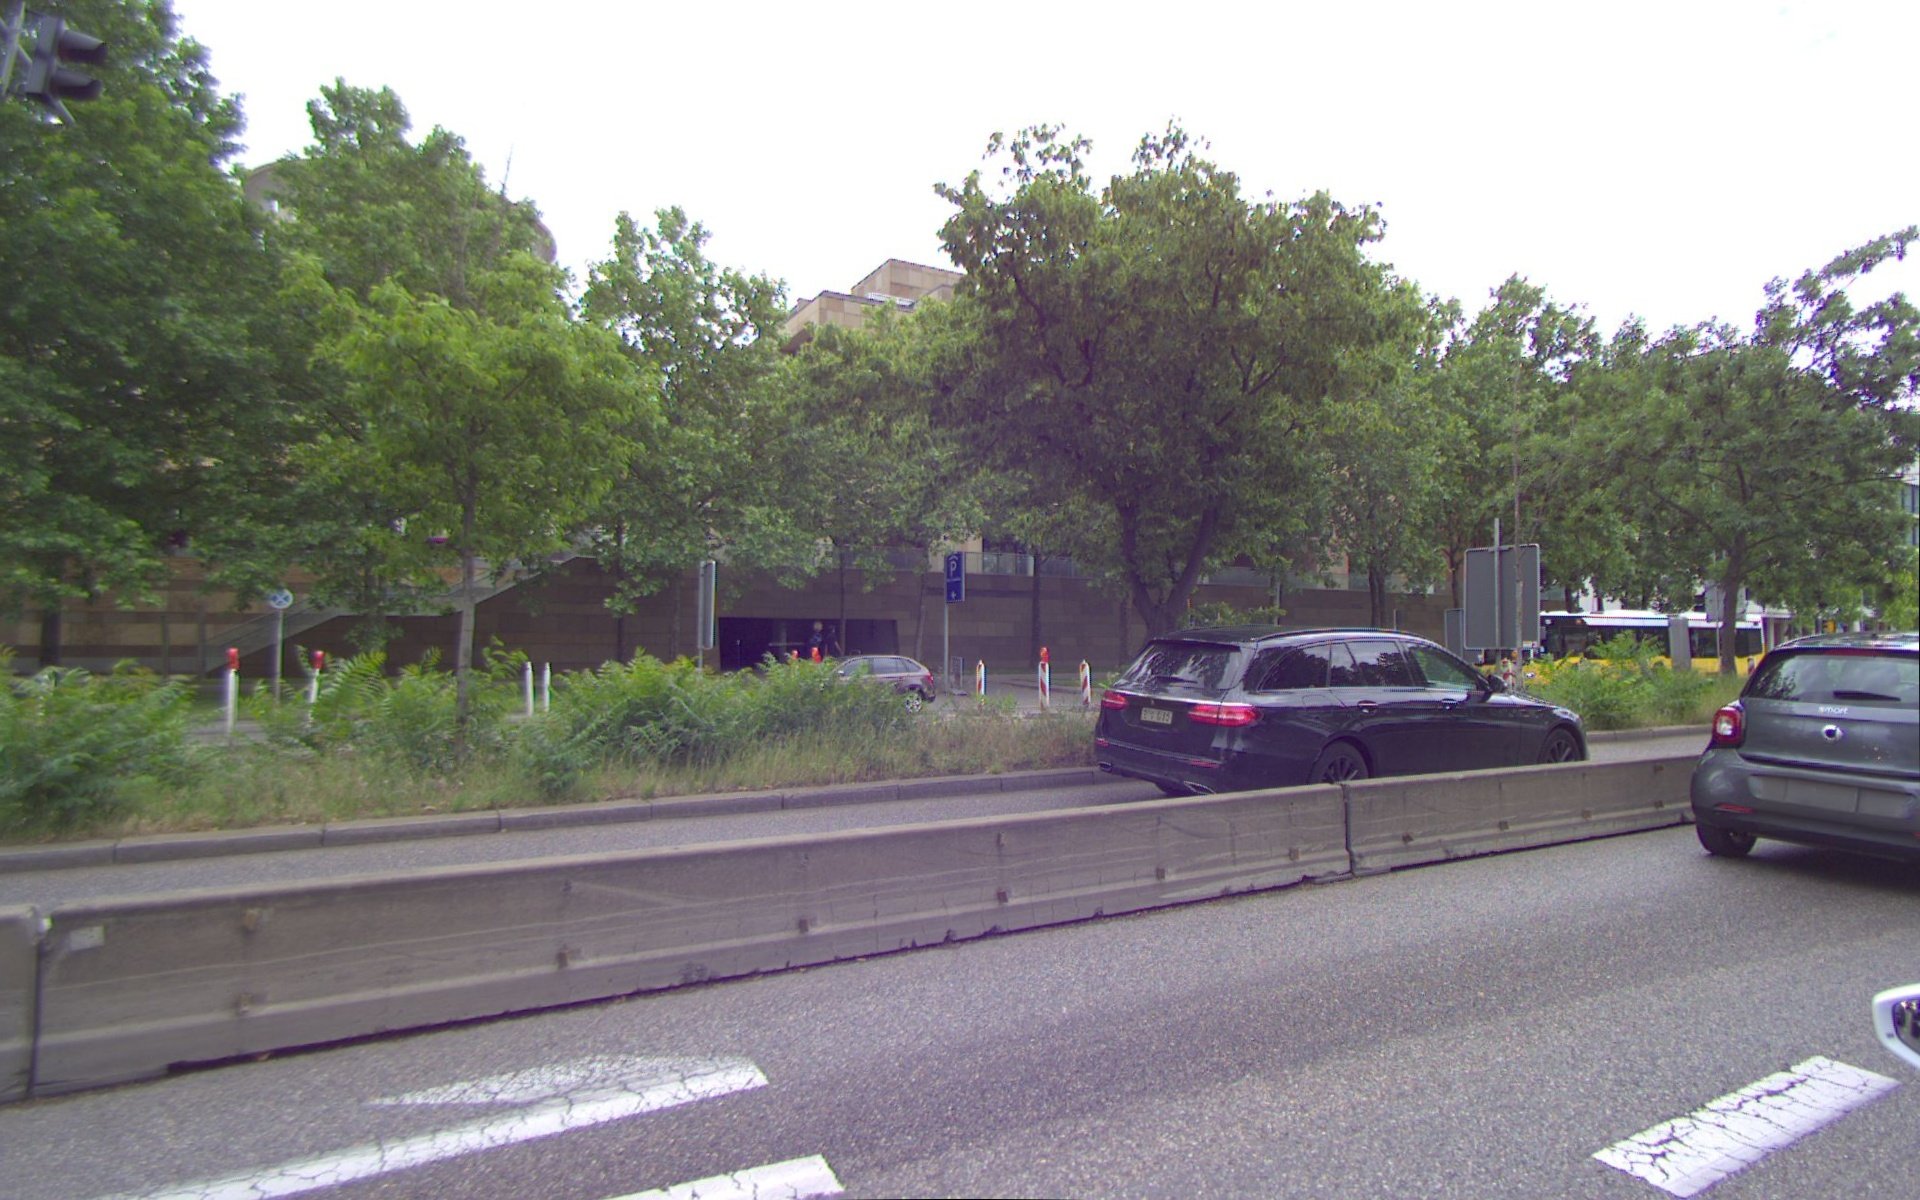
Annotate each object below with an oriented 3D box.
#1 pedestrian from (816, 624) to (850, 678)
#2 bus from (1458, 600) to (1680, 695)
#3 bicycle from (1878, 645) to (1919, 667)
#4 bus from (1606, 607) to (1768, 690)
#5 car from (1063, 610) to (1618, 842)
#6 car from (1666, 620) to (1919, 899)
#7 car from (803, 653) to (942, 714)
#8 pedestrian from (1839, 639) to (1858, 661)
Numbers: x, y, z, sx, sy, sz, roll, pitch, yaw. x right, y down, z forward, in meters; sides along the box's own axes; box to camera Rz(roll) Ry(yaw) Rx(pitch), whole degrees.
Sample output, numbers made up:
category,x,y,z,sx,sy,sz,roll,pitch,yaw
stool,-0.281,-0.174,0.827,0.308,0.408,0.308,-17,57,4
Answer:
category,x,y,z,sx,sy,sz,roll,pitch,yaw
pedestrian,-4.438,1.798,35.175,0.976,1.878,0.718,2,-4,-30
bus,24.081,1.864,39.473,10.326,3.348,2.899,2,-2,-30
bicycle,74.826,4.399,79.091,1.169,1.706,3.597,1,-3,-29
bus,31.856,2.120,43.956,7.615,3.347,2.910,2,-2,-30
car,3.393,0.937,8.662,4.805,1.479,1.803,2,1,-30
car,6.646,0.961,6.859,3.497,1.529,1.620,2,-1,-29
car,-2.090,1.975,24.151,3.020,1.305,1.346,2,0,-30
pedestrian,65.933,3.697,74.574,0.865,1.577,0.598,0,-2,19
